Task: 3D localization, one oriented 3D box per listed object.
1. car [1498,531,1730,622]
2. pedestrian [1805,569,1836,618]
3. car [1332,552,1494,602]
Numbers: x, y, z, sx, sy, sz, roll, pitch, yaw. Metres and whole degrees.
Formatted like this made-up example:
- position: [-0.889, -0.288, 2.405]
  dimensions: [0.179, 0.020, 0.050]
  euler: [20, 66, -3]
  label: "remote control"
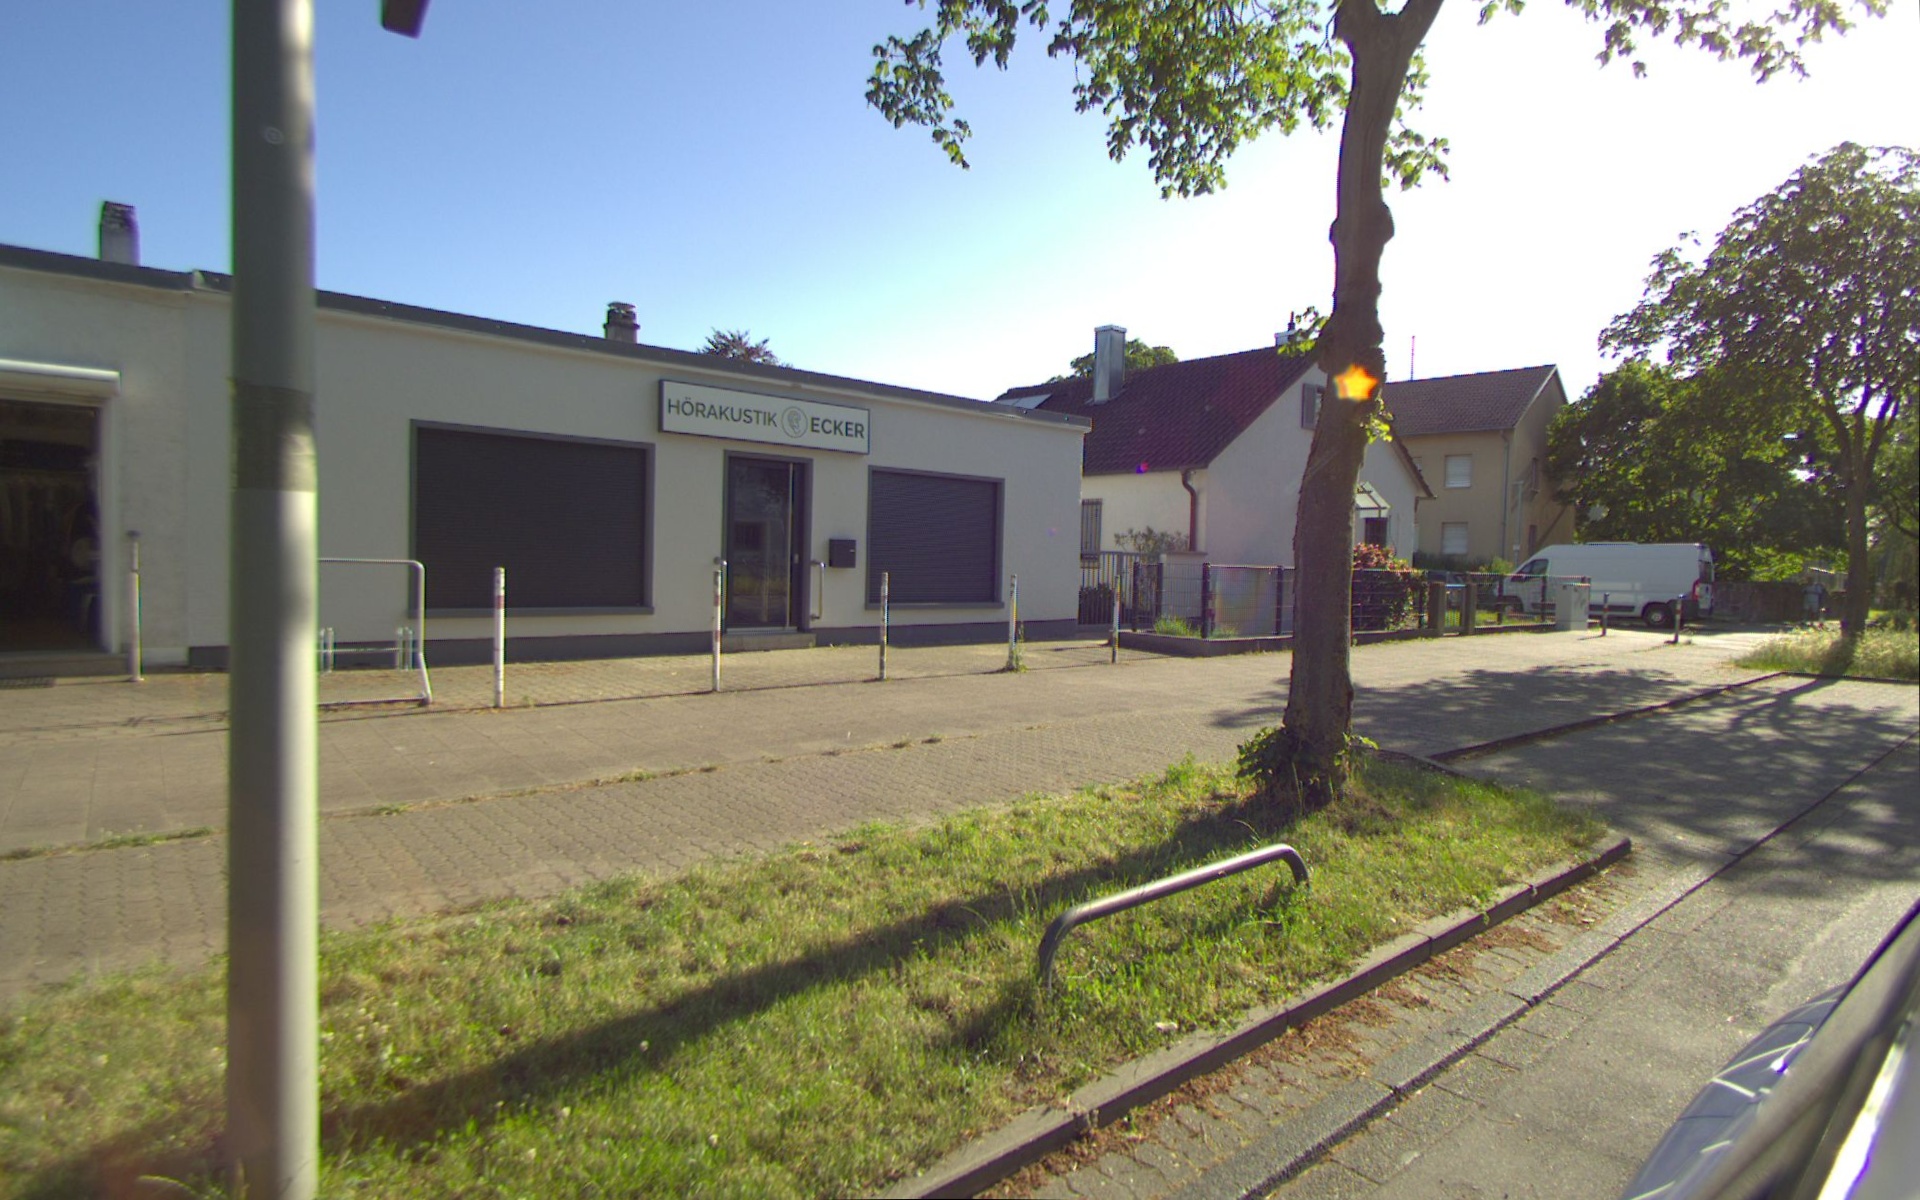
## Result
- position: [20.033, -0.780, 31.236]
  dimensions: [2.228, 2.570, 5.602]
  euler: [0, 2, -43]
  label: "car"
- position: [31.002, -0.235, 36.467]
  dimensions: [0.601, 1.726, 0.638]
  euler: [1, 3, -41]
  label: "pedestrian"
- position: [15.904, -0.783, 35.713]
  dimensions: [2.247, 1.601, 4.746]
  euler: [1, 0, -43]
  label: "car"
